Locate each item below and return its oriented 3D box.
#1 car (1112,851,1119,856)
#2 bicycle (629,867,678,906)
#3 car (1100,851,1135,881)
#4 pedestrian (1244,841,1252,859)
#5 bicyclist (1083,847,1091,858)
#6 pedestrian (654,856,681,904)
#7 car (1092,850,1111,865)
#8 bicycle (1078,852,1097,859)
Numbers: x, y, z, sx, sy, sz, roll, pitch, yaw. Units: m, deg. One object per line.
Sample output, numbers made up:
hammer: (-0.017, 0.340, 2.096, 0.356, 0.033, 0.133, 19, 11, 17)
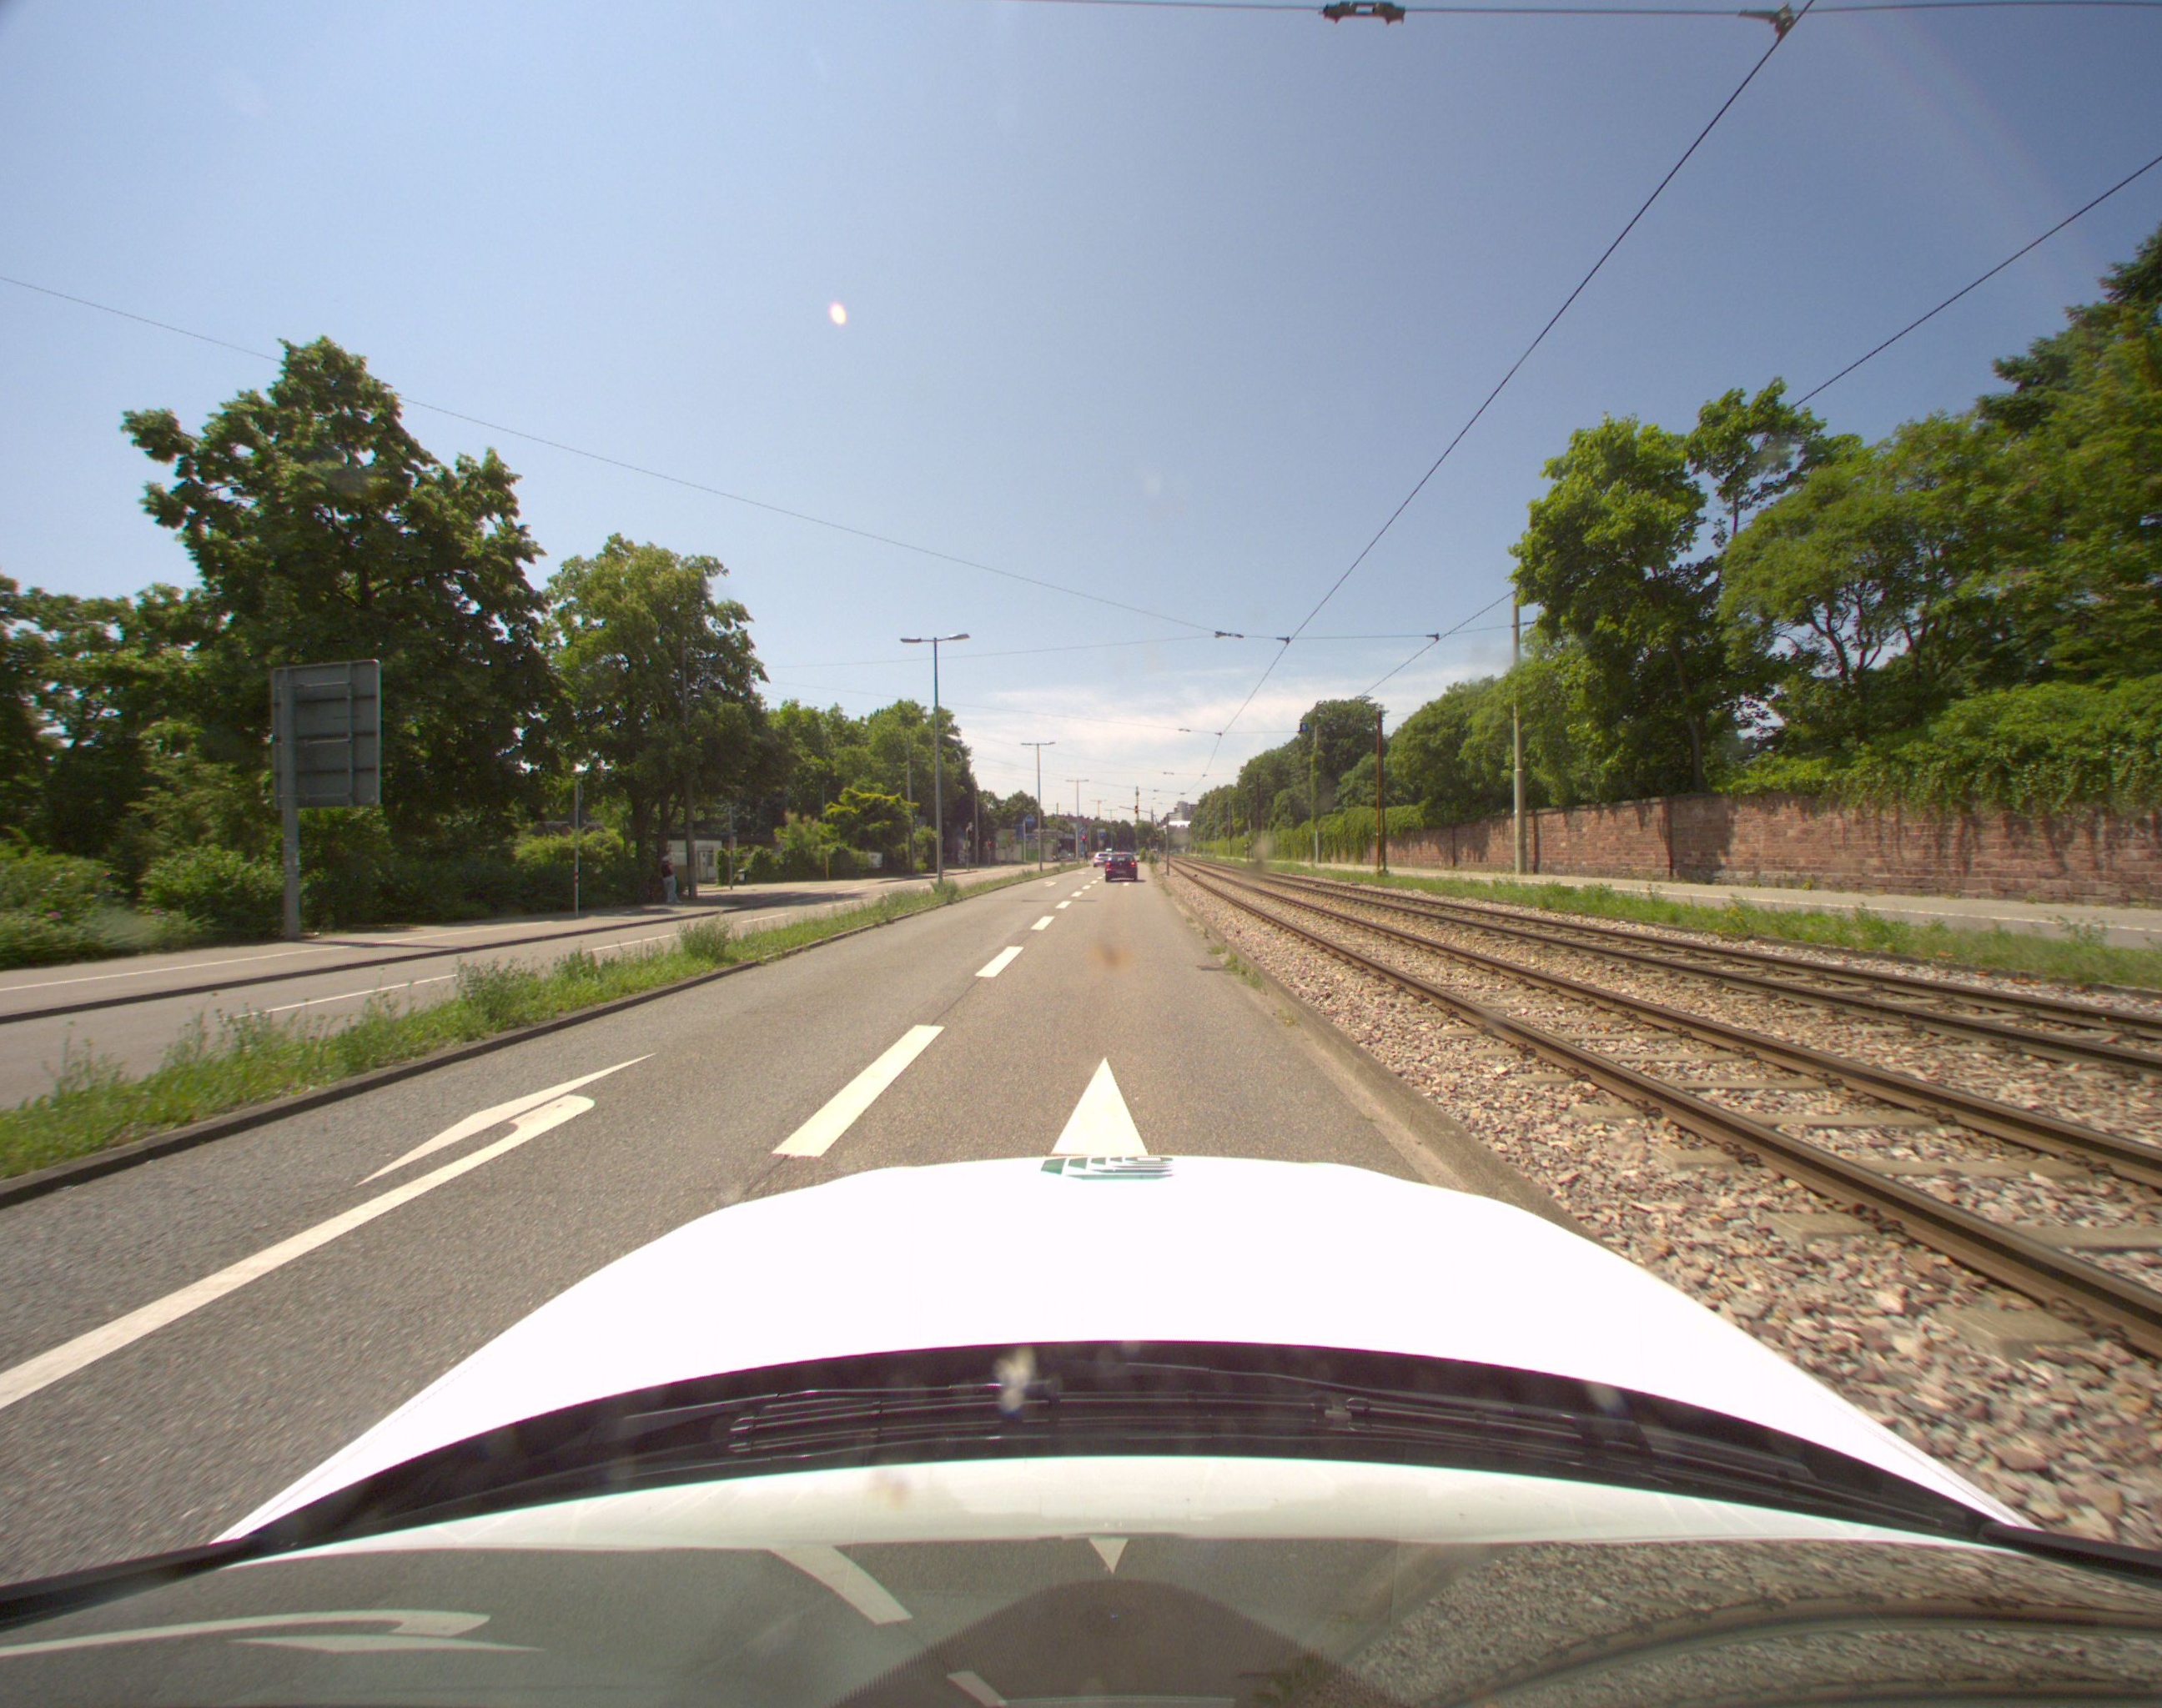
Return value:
car: (11.092, -0.095, 261.517, 1.739, 1.686, 4.007, -2, 0, 6)
bicycle: (-15.548, 1.157, 29.658, 0.641, 1.327, 1.580, -2, 0, 17)
car: (1.887, 0.583, 41.973, 1.696, 1.477, 3.719, 0, 0, 3)
pedestrian: (16.256, -0.356, 79.232, 0.659, 1.726, 0.817, -2, 0, 3)
bicyclist: (0.894, -0.244, 117.865, 0.944, 1.593, 1.084, 0, -1, -10)
pedestrian: (-14.960, 0.927, 29.475, 0.545, 1.718, 0.606, -2, 0, 17)
car: (2.015, 0.325, 80.259, 1.697, 1.480, 3.715, 0, 0, 0)
bicycle: (0.947, 0.246, 117.839, 2.550, 1.038, 1.084, 0, -1, -11)
